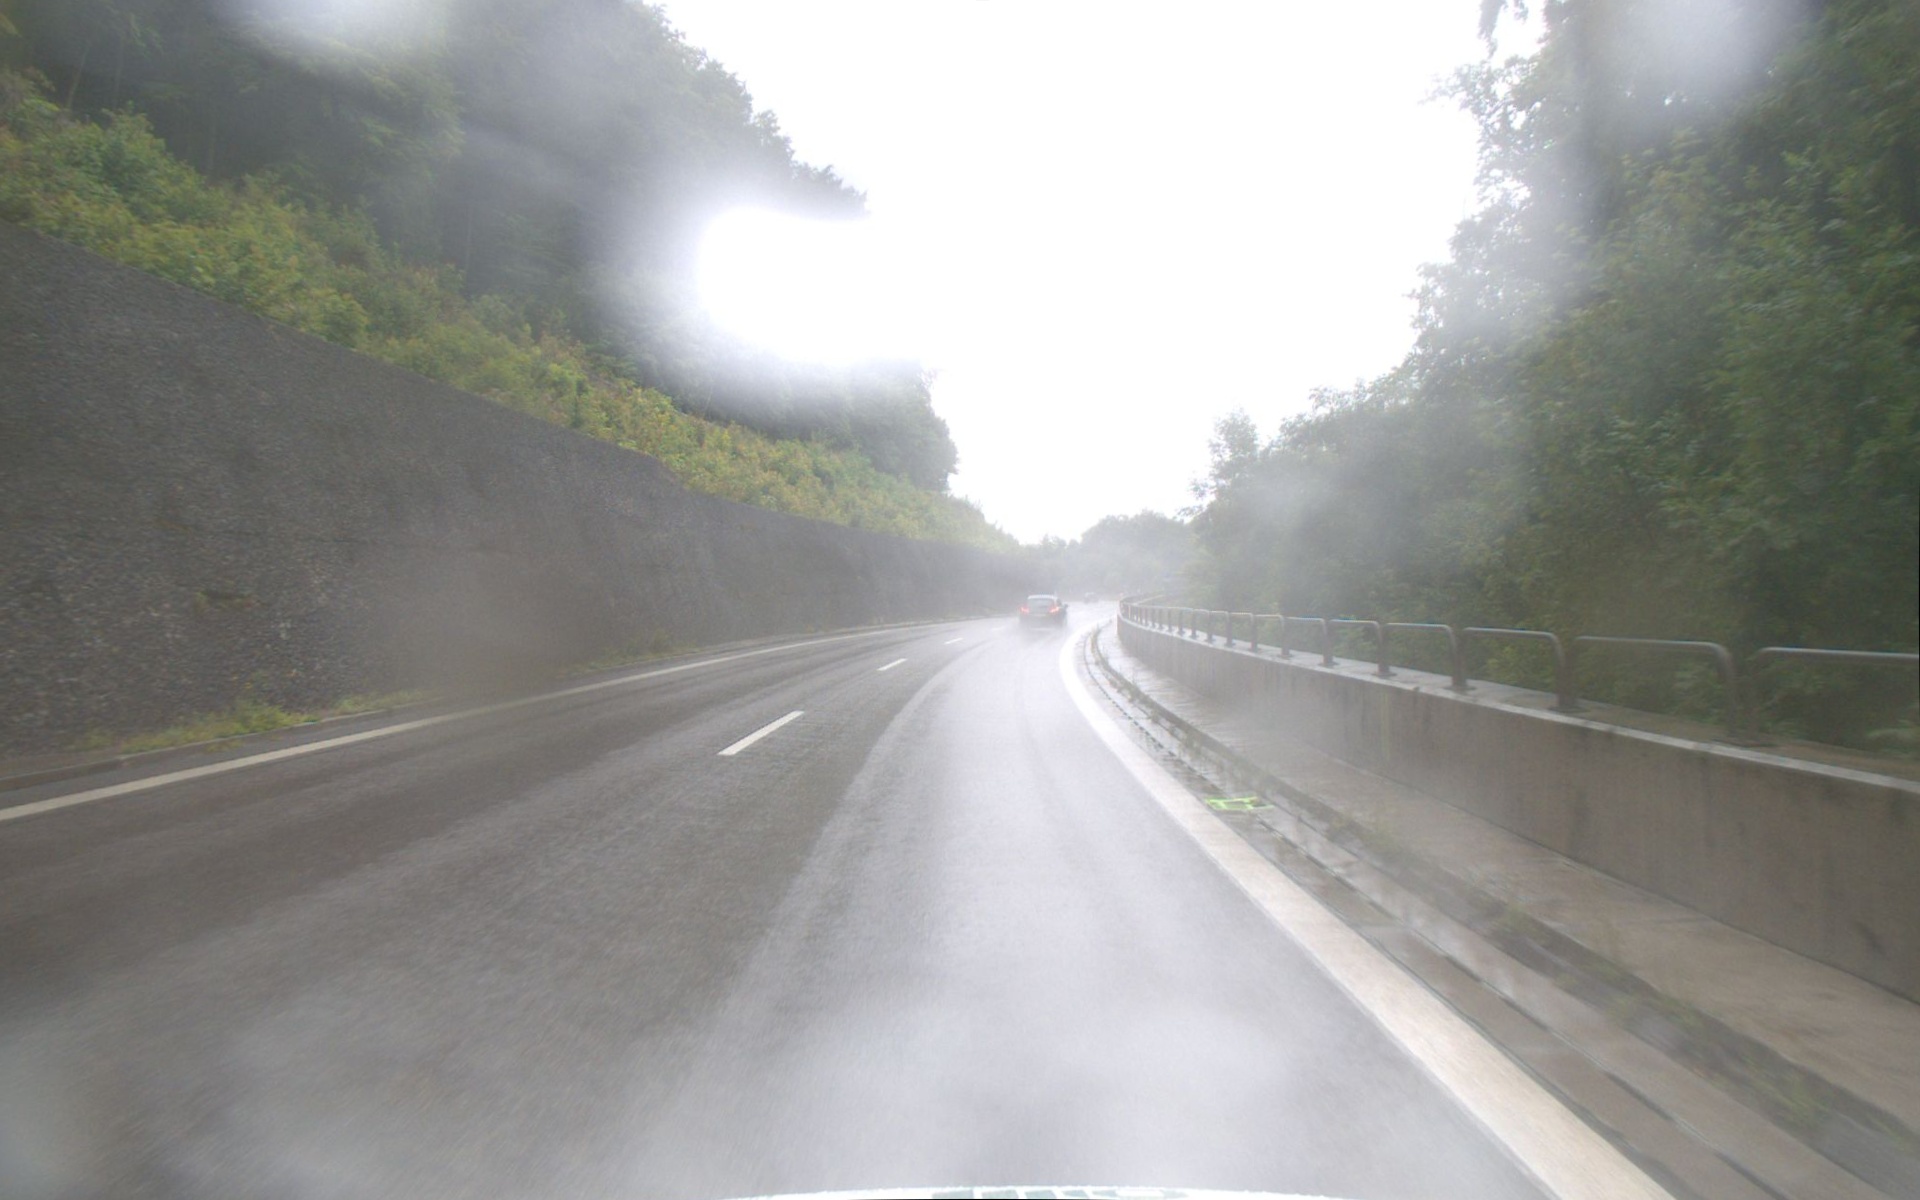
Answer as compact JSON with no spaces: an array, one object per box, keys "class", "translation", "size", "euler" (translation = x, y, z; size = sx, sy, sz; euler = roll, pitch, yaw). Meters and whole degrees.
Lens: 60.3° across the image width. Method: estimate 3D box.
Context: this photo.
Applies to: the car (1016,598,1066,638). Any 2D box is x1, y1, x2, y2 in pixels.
[{"class":"car","translation":[3.333,0.710,67.545],"size":[1.863,1.525,4.002],"euler":[-2,0,5]}]
